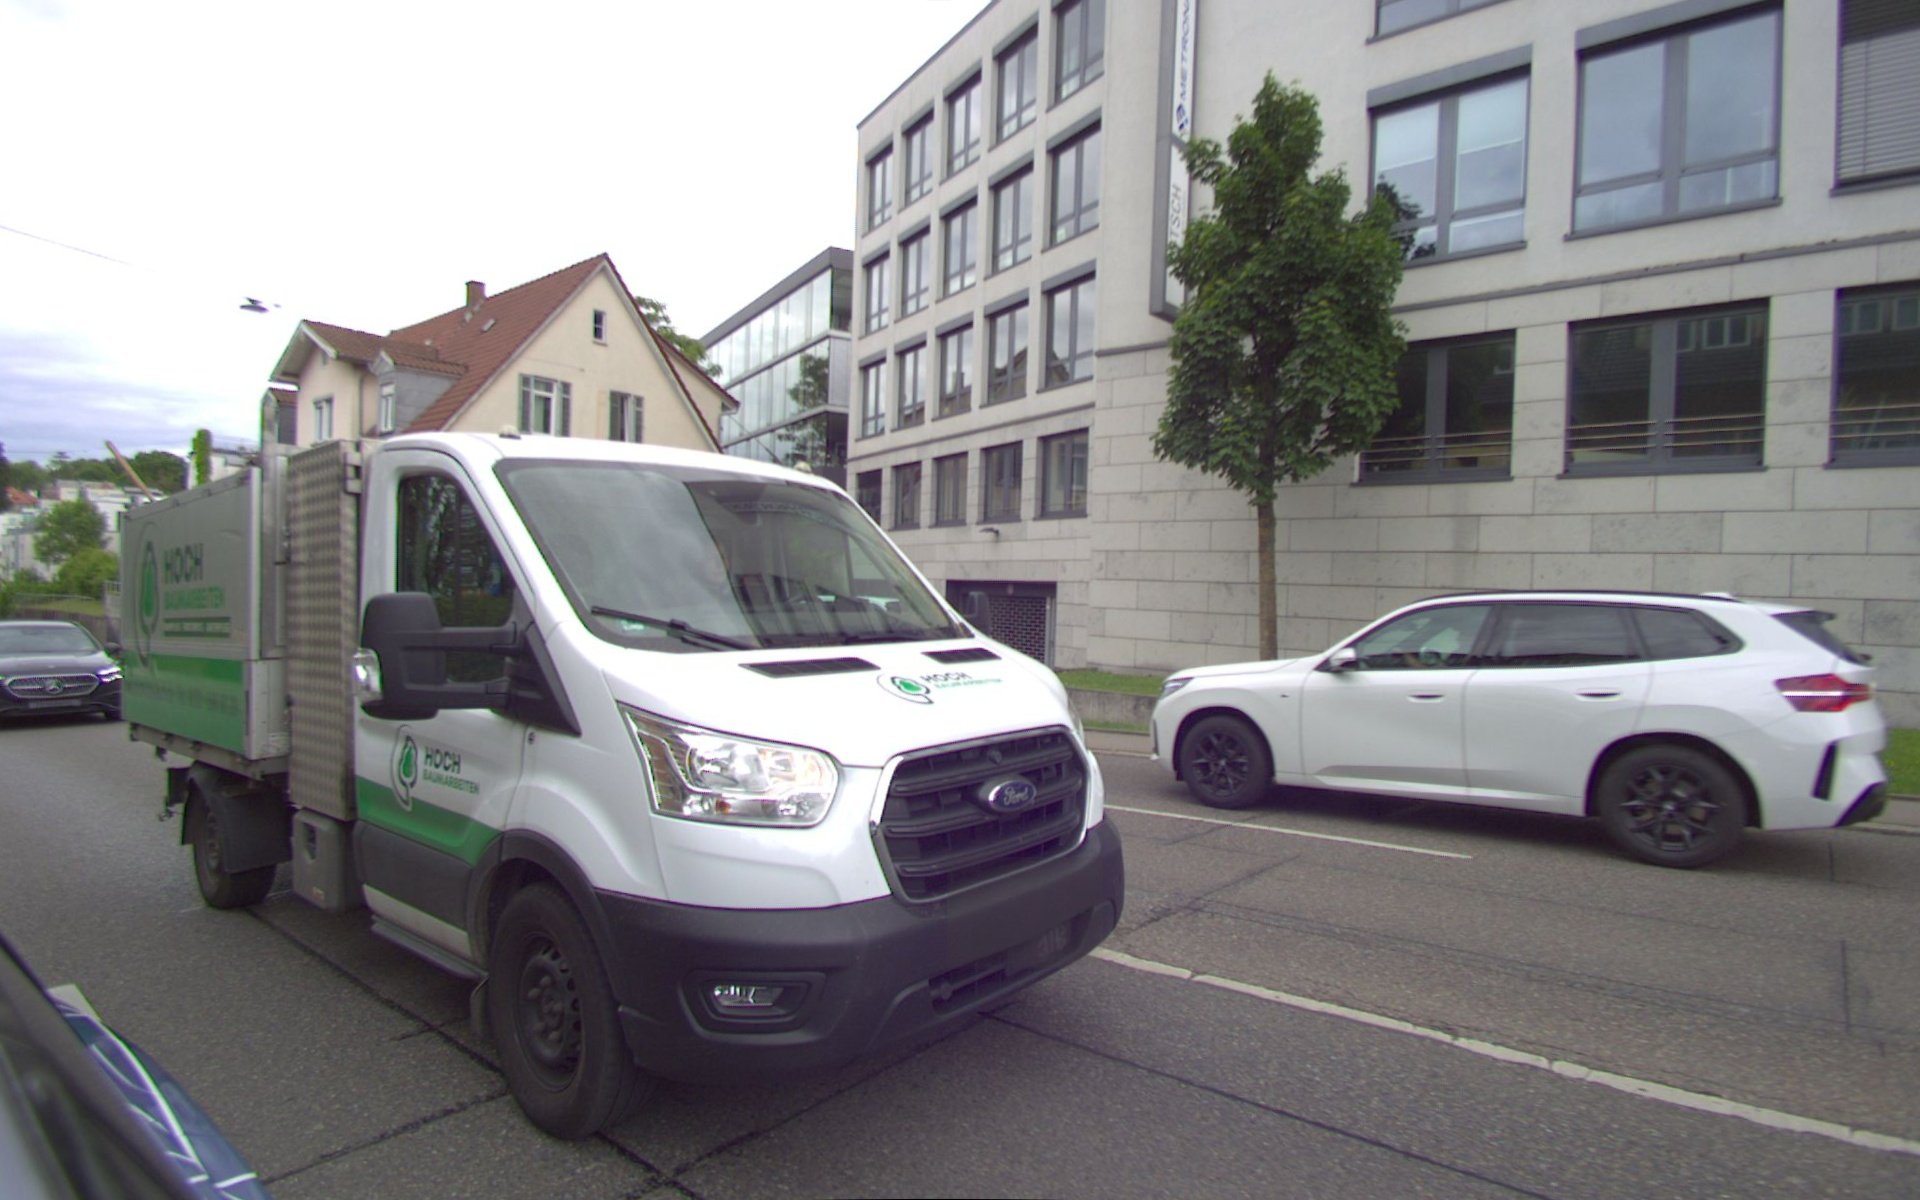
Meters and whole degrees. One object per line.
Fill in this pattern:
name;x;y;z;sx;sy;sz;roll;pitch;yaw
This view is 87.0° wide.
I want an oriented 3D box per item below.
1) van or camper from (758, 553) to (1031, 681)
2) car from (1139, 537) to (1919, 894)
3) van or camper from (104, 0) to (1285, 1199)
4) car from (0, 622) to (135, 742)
van or camper;-1.277;0.366;18.136;4.871;1.983;2.038;-2;-4;42
car;3.796;0.670;7.311;4.651;1.803;1.850;-1;-4;41
van or camper;-1.823;0.164;4.719;5.960;2.682;2.320;1;1;40
car;-13.842;1.141;14.965;4.333;1.541;1.854;-2;-1;41
